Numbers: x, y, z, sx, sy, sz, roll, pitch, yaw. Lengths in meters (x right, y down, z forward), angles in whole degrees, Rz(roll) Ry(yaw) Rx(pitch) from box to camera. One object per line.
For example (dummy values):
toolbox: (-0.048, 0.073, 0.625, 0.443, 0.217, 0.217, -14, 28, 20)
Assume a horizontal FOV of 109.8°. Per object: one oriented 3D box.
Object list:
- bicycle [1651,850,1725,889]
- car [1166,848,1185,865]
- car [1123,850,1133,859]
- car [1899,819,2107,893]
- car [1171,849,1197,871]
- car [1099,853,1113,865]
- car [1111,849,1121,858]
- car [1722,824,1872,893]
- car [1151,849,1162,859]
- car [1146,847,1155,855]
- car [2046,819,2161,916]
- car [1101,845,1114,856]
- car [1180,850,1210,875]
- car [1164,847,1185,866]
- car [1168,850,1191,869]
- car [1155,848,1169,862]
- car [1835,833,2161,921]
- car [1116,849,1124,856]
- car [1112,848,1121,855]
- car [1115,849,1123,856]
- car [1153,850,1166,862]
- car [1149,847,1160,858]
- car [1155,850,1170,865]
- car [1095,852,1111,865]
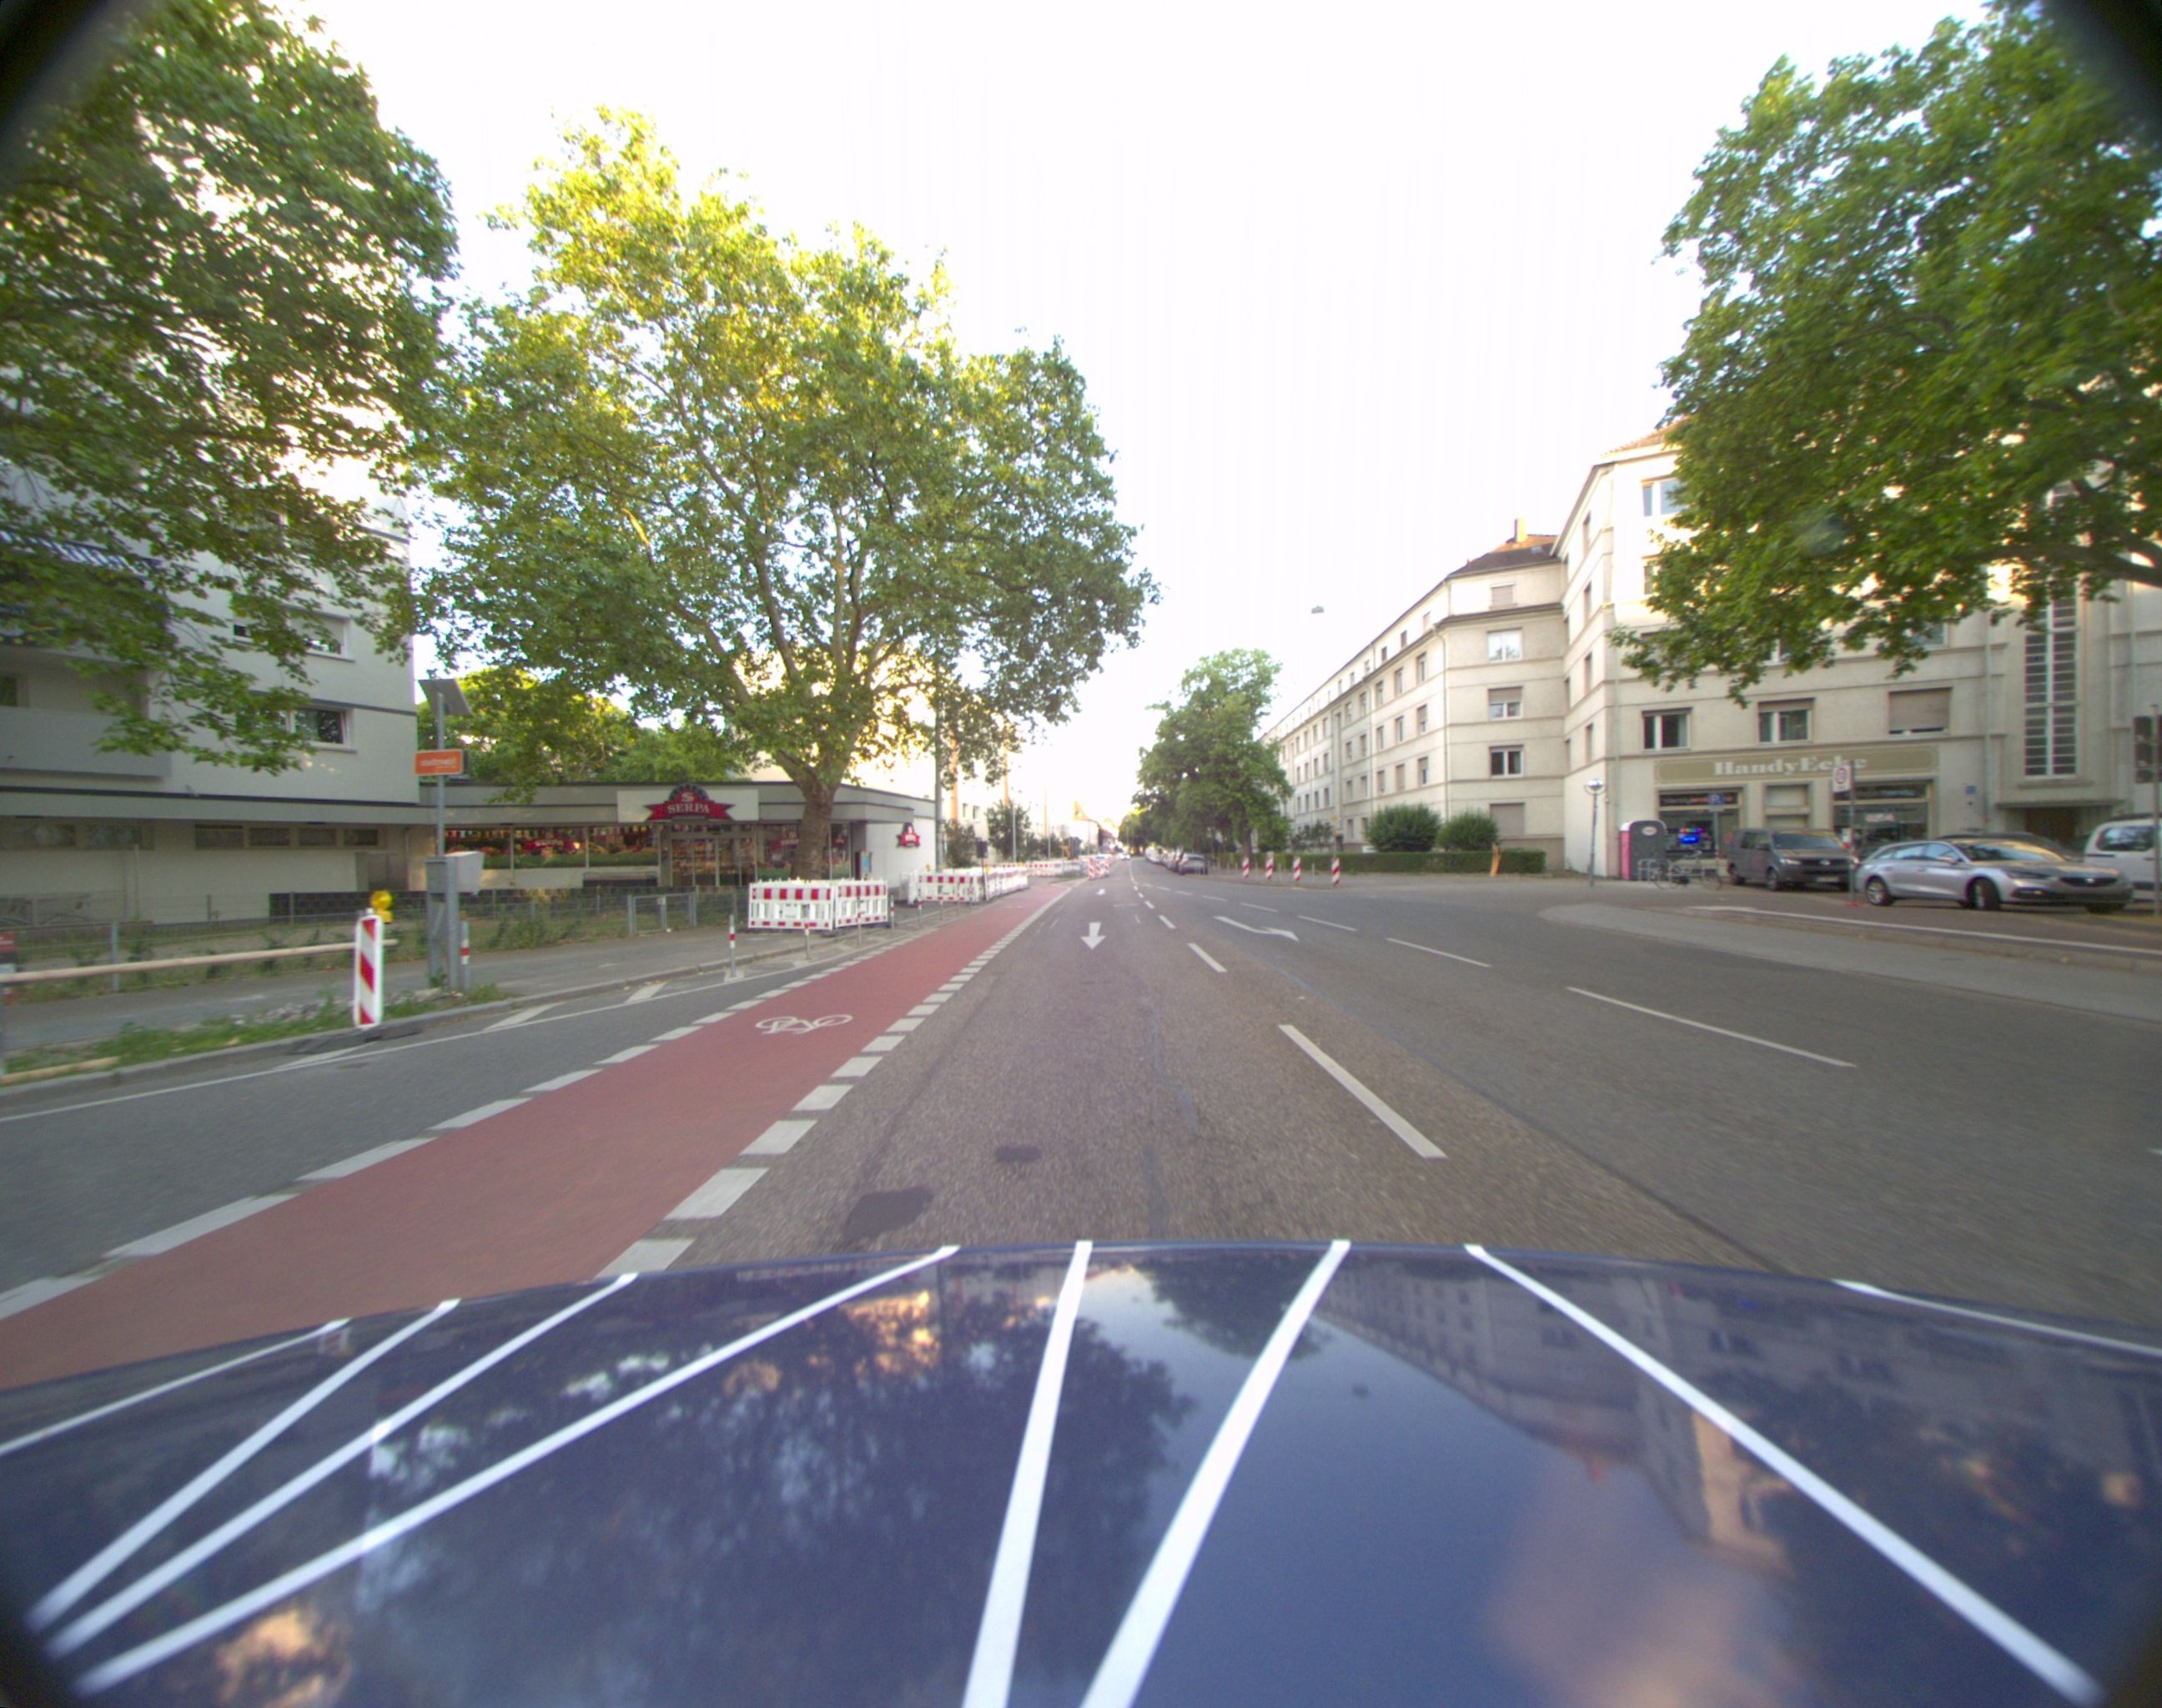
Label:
bicycle: (19.427, 0.503, 24.361, 1.802, 1.199, 0.648, -1, 2, 33)
car: (10.107, 0.264, 81.699, 1.892, 1.591, 4.260, -2, 1, 6)
car: (10.485, 0.163, 169.012, 1.997, 1.838, 4.001, -2, 1, 7)
car: (27.144, -0.039, 22.658, 1.995, 1.945, 4.646, 0, 3, 24)
car: (8.514, 0.458, 62.897, 1.892, 1.681, 4.260, -2, 1, 6)
car: (3.782, 0.750, 114.080, 1.892, 1.726, 4.260, -2, 1, 6)
car: (7.279, -0.087, 156.975, 1.892, 1.591, 4.260, -2, 1, 6)
car: (22.639, 0.058, 24.300, 1.995, 1.945, 4.646, 0, 3, 24)
car: (13.236, -0.045, 133.546, 1.892, 1.591, 4.260, -2, 1, 6)
car: (15.323, -0.728, 166.828, 1.892, 1.591, 4.260, -2, 1, 6)
car: (20.737, 0.243, 13.739, 1.995, 1.771, 4.648, 0, -1, 21)
car: (4.278, -0.540, 122.591, 1.892, 1.651, 4.260, -2, 1, 6)
car: (8.186, 0.594, 54.872, 1.892, 1.591, 4.001, -2, 1, 6)
car: (9.342, 0.227, 76.164, 1.892, 1.764, 4.260, -2, 1, 6)
car: (9.066, 0.447, 70.219, 1.892, 1.591, 4.260, -2, 1, 6)
car: (11.633, 0.153, 108.954, 1.892, 1.855, 4.260, -2, 1, 6)
car: (18.152, 0.415, 15.421, 1.996, 1.494, 4.647, 0, -1, 15)
car: (10.508, -0.407, 206.460, 1.892, 1.591, 4.260, -2, 1, 6)
car: (8.630, -0.651, 185.587, 1.892, 1.591, 4.260, -2, 1, 6)
car: (9.919, -0.438, 197.224, 1.892, 1.591, 4.260, -2, 1, 6)
car: (12.210, 0.305, 118.626, 1.892, 1.591, 4.260, -2, 1, 6)
car: (13.891, -0.309, 143.355, 1.892, 1.868, 4.946, -2, 1, 6)
car: (10.894, 0.468, 101.195, 1.892, 1.815, 4.260, -2, 1, 6)
car: (2.964, 0.592, 101.794, 1.892, 1.591, 4.260, -2, 1, 6)
